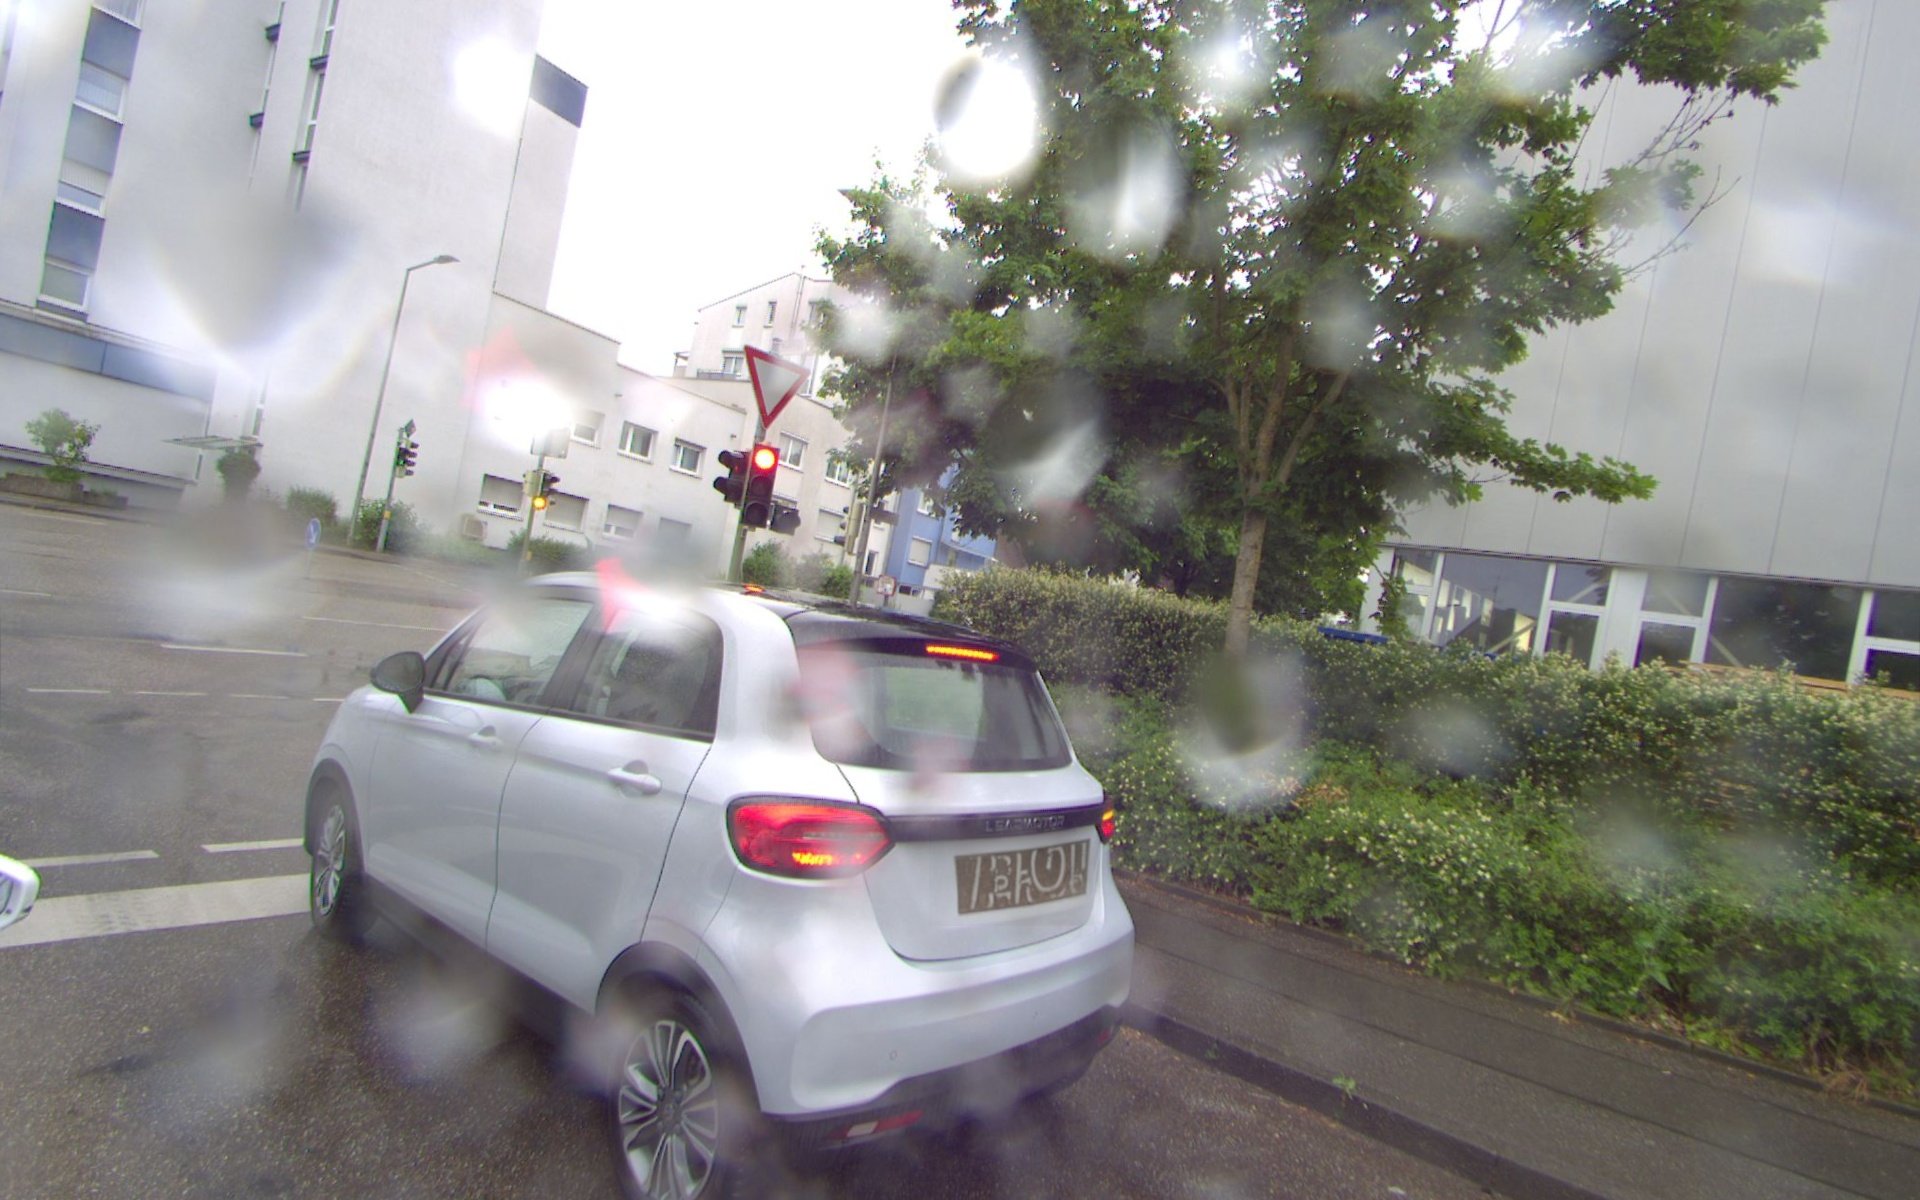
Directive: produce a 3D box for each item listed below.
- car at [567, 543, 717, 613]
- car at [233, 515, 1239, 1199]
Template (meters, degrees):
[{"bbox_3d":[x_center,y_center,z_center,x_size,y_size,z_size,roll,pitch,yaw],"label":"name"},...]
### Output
[{"bbox_3d":[-10.098,-0.677,32.191,1.717,1.504,4.134,11,1,40],"label":"car"},{"bbox_3d":[-1.179,0.704,3.906,3.850,1.573,1.688,8,0,41],"label":"car"}]
